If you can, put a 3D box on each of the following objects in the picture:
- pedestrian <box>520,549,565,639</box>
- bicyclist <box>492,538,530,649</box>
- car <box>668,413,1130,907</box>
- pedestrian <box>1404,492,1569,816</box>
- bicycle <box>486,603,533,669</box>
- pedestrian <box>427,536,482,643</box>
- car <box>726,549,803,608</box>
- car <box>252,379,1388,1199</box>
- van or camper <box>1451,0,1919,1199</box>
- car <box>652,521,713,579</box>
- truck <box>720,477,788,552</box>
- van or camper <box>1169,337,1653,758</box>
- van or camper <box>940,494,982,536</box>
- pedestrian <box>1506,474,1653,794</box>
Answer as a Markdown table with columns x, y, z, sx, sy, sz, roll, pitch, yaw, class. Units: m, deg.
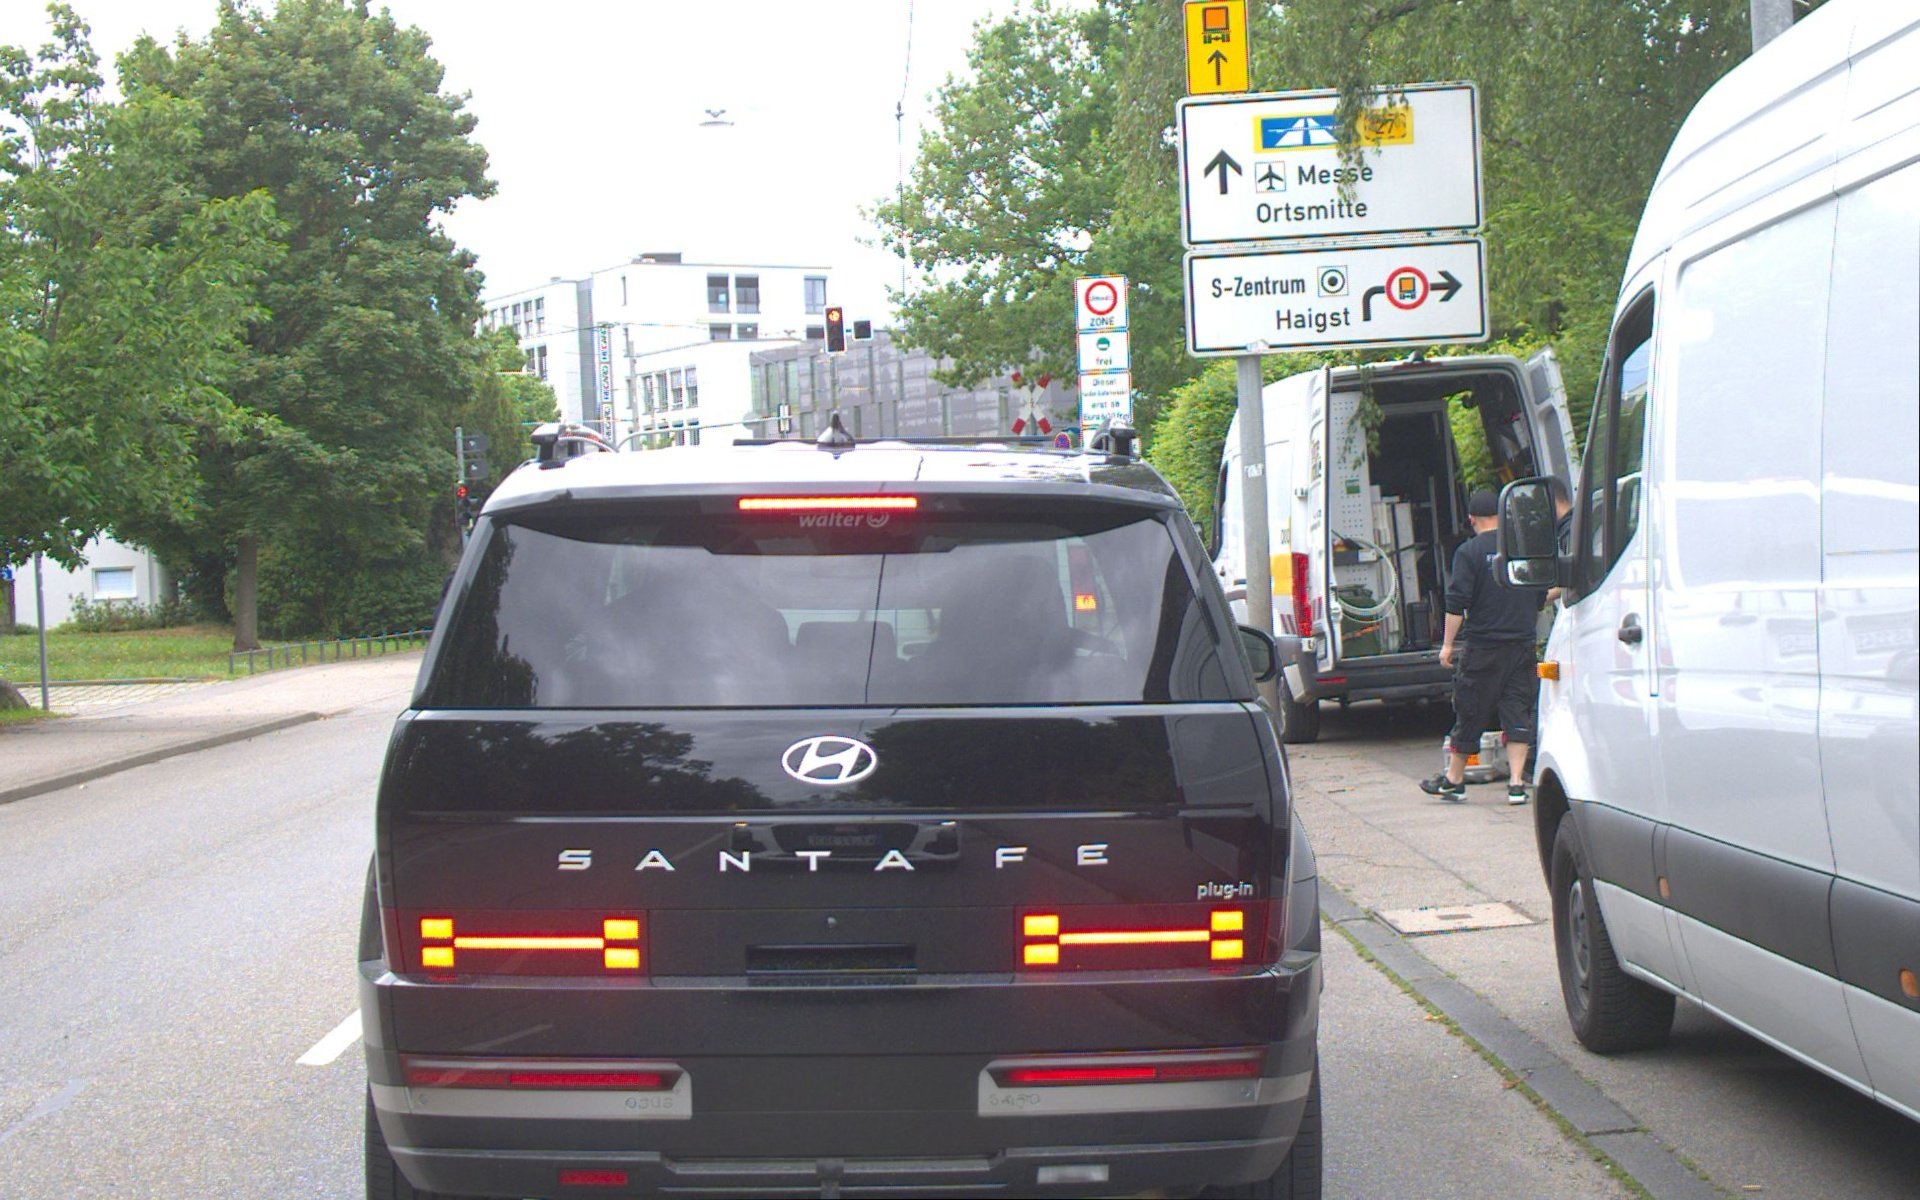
| x | y | z | sx | sy | sz | roll | pitch | yaw | class |
| --- | --- | --- | --- | --- | --- | --- | --- | --- | --- |
| -8.193 | -0.127 | 67.540 | 0.767 | 1.742 | 0.904 | -1 | 0 | -1 | pedestrian |
| -6.846 | -0.103 | 52.391 | 0.487 | 1.678 | 0.588 | 1 | 0 | -1 | bicyclist |
| -0.277 | 0.231 | 16.332 | 1.897 | 2.035 | 3.994 | 1 | 1 | -1 | car |
| 2.773 | 0.279 | 18.173 | 0.736 | 1.638 | 0.801 | -3 | 0 | 6 | pedestrian |
| -6.863 | 0.536 | 52.386 | 0.495 | 0.961 | 1.748 | 1 | 1 | -1 | bicycle |
| -9.654 | -0.202 | 65.689 | 0.830 | 2.007 | 1.047 | 1 | 0 | 2 | pedestrian |
| -5.131 | -0.572 | 90.742 | 1.756 | 1.398 | 4.414 | -4 | 1 | -1 | car |
| -0.261 | 0.506 | 7.798 | 1.897 | 1.770 | 3.994 | 1 | 1 | -1 | car |
| 2.599 | -0.016 | 6.988 | 1.991 | 2.616 | 6.544 | -5 | 1 | -1 | van or camper |
| -11.655 | -2.078 | 144.185 | 2.332 | 2.307 | 4.959 | -2 | 1 | -6 | car |
| -11.257 | -4.585 | 187.108 | 3.107 | 3.846 | 9.623 | -2 | 1 | -6 | truck |
| 3.082 | -0.335 | 25.262 | 2.340 | 2.486 | 6.603 | -5 | 0 | -1 | van or camper |
| 0.037 | -4.257 | 172.471 | 1.795 | 1.992 | 3.824 | 1 | 1 | -4 | van or camper |
| 3.413 | 0.179 | 18.986 | 0.750 | 1.715 | 0.791 | 1 | 0 | 9 | pedestrian |
